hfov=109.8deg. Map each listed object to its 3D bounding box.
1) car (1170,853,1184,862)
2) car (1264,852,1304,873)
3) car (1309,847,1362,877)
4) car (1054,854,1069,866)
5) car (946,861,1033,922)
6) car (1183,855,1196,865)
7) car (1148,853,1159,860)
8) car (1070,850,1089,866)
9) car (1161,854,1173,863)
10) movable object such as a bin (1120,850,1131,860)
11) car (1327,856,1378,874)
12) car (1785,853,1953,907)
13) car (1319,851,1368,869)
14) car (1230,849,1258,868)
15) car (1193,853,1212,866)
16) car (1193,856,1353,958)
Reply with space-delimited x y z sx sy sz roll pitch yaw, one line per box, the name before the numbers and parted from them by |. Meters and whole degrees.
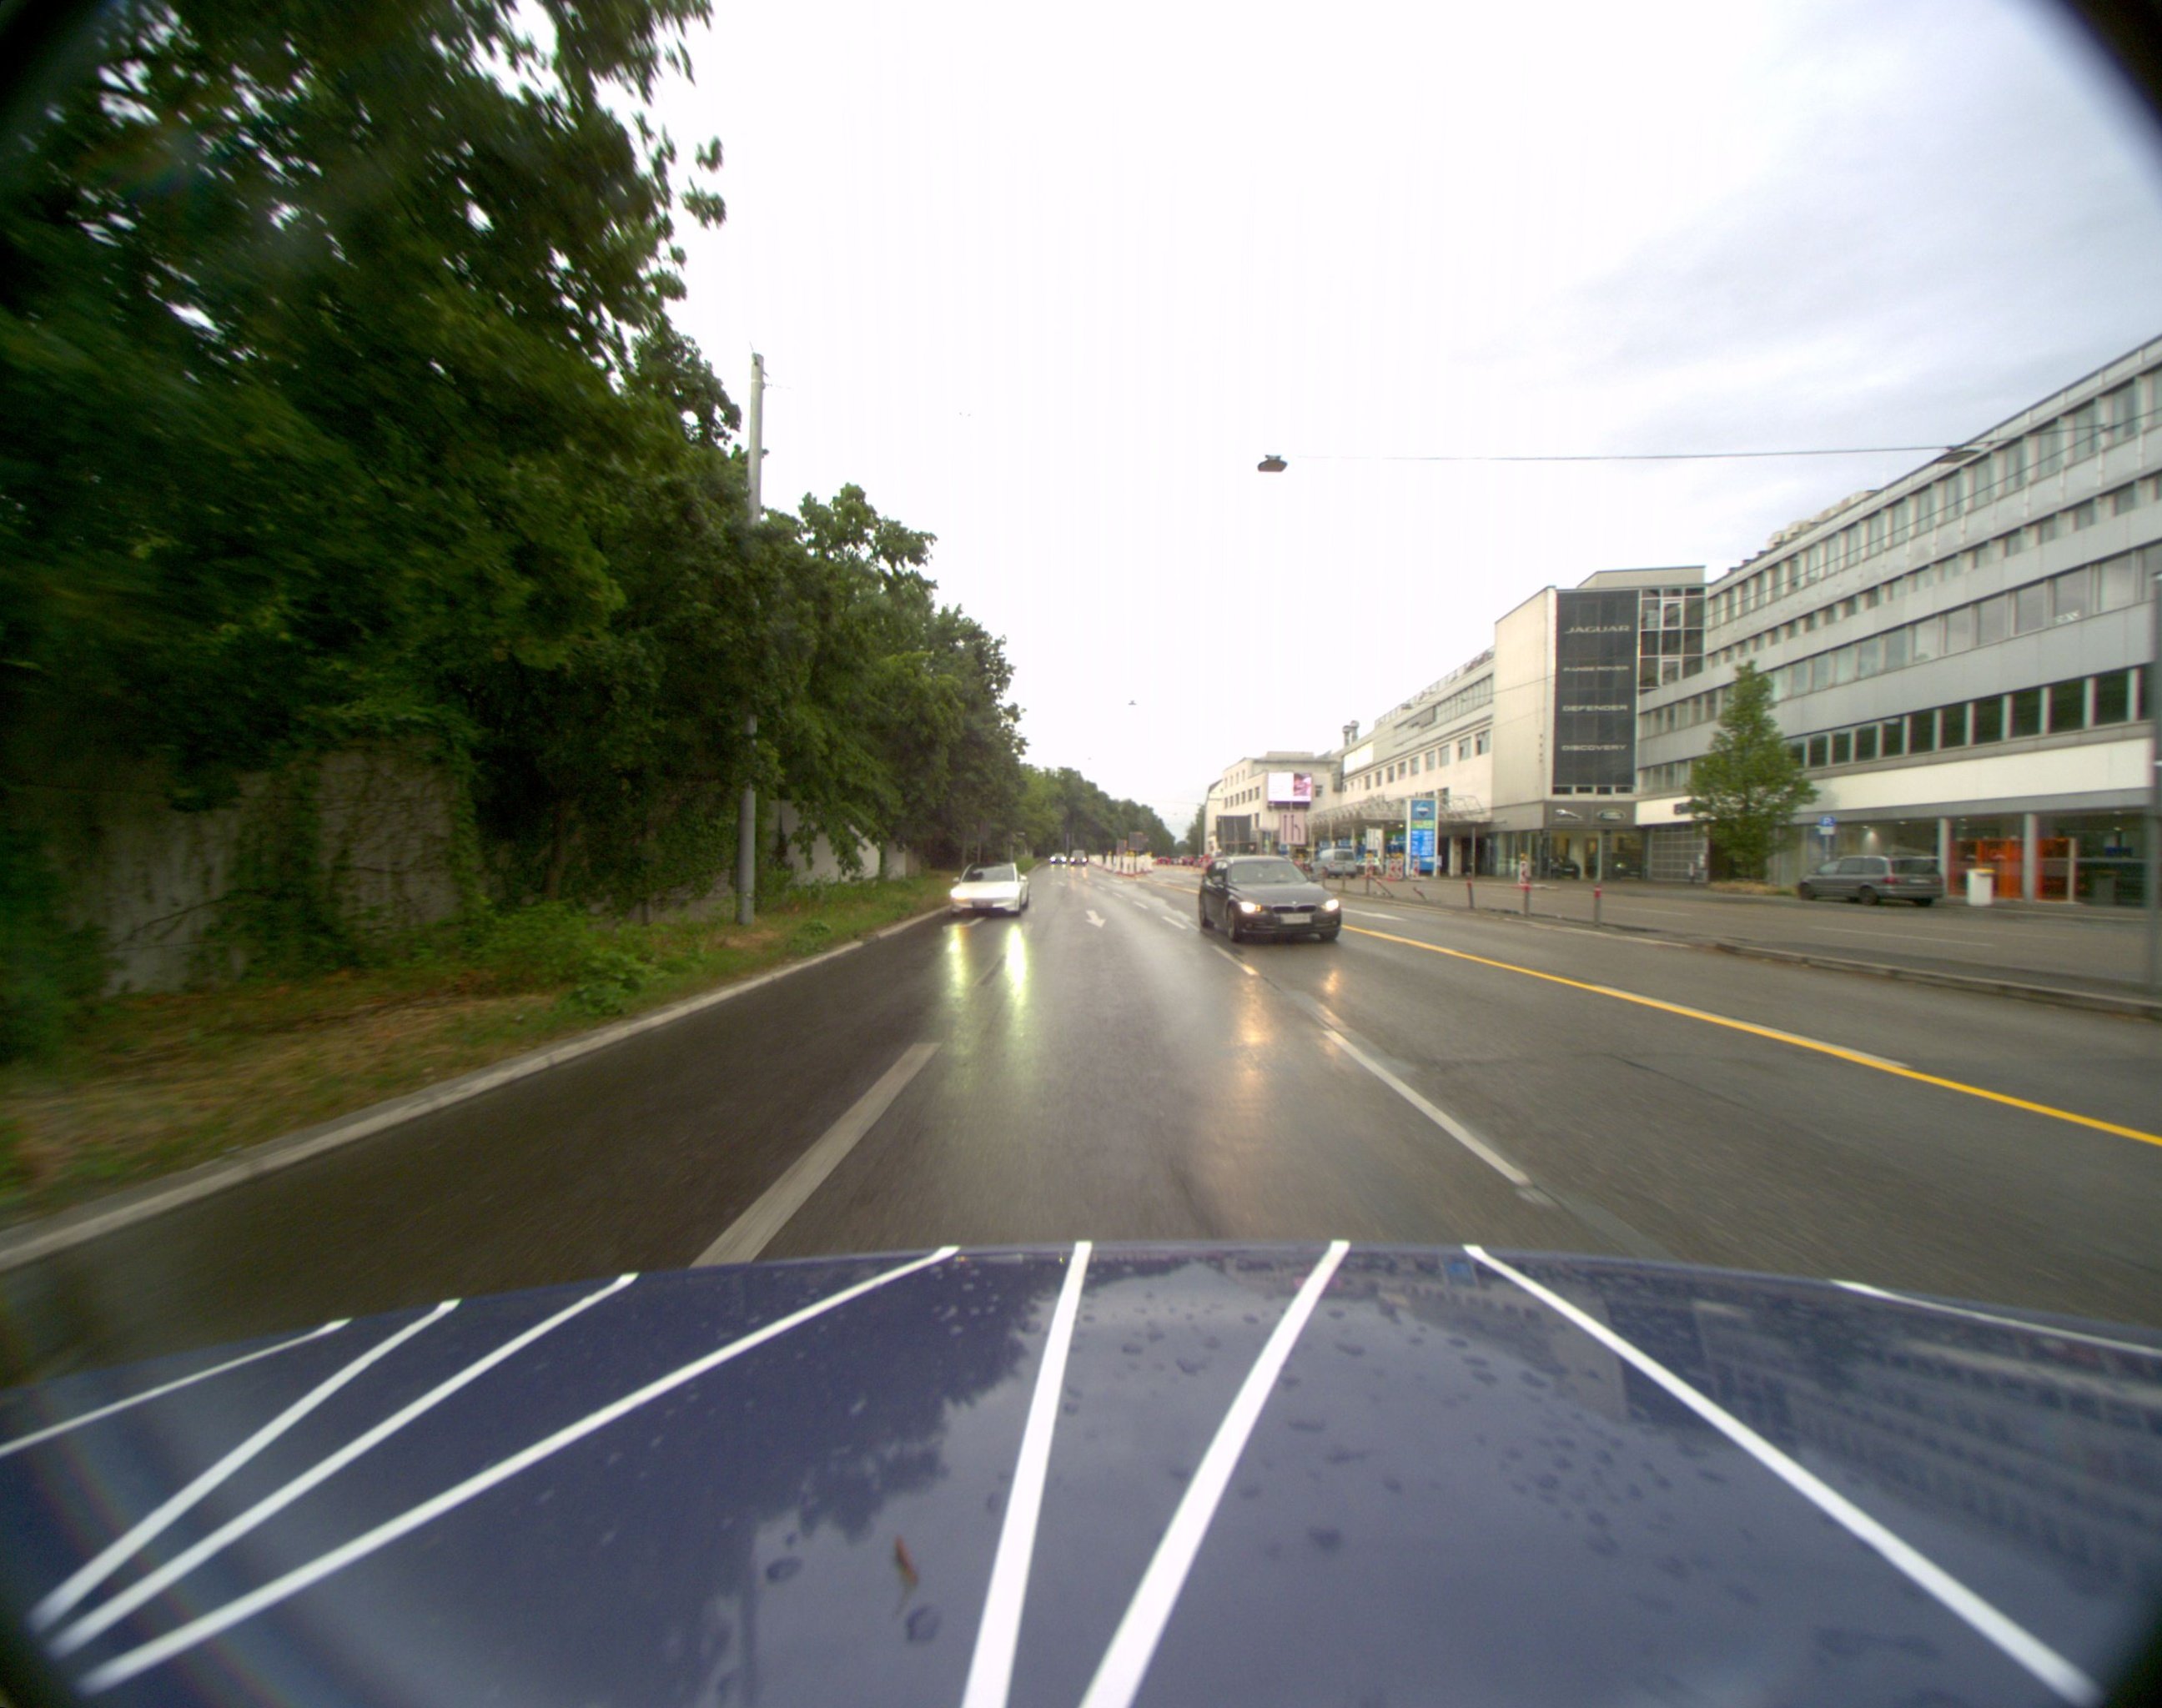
car | 18.750 0.630 147.941 1.985 1.697 4.830 1 1 -1
car | 15.707 0.636 59.005 1.834 1.493 4.372 2 1 0
car | 15.899 0.453 47.672 1.738 1.775 4.300 2 1 -1
car | -2.571 0.764 100.361 1.741 1.477 3.918 -2 0 1
car | -2.468 0.972 21.564 1.839 1.424 4.273 -2 1 1
car | 17.305 0.903 121.042 1.755 1.505 4.000 2 1 4
car | 15.024 0.439 156.826 1.740 1.396 4.288 0 1 -1
car | -0.132 0.452 87.793 1.998 1.740 4.000 2 1 1
car | 13.765 0.733 121.948 1.693 1.346 4.115 2 1 3
movable object such as a bin | 9.371 0.190 161.002 1.997 2.099 3.852 2 0 8
car | 27.550 1.127 77.158 4.465 1.669 2.018 3 1 40
car | 28.758 0.874 28.006 1.851 1.768 4.734 2 1 11
car | 28.137 0.615 81.429 4.432 1.760 1.972 3 1 40
car | 16.049 0.432 75.025 1.850 1.727 4.604 1 1 1
car | 15.386 0.630 96.458 1.812 1.549 4.300 1 1 1
car | 3.315 0.836 13.983 1.764 1.441 4.176 -3 1 -1
